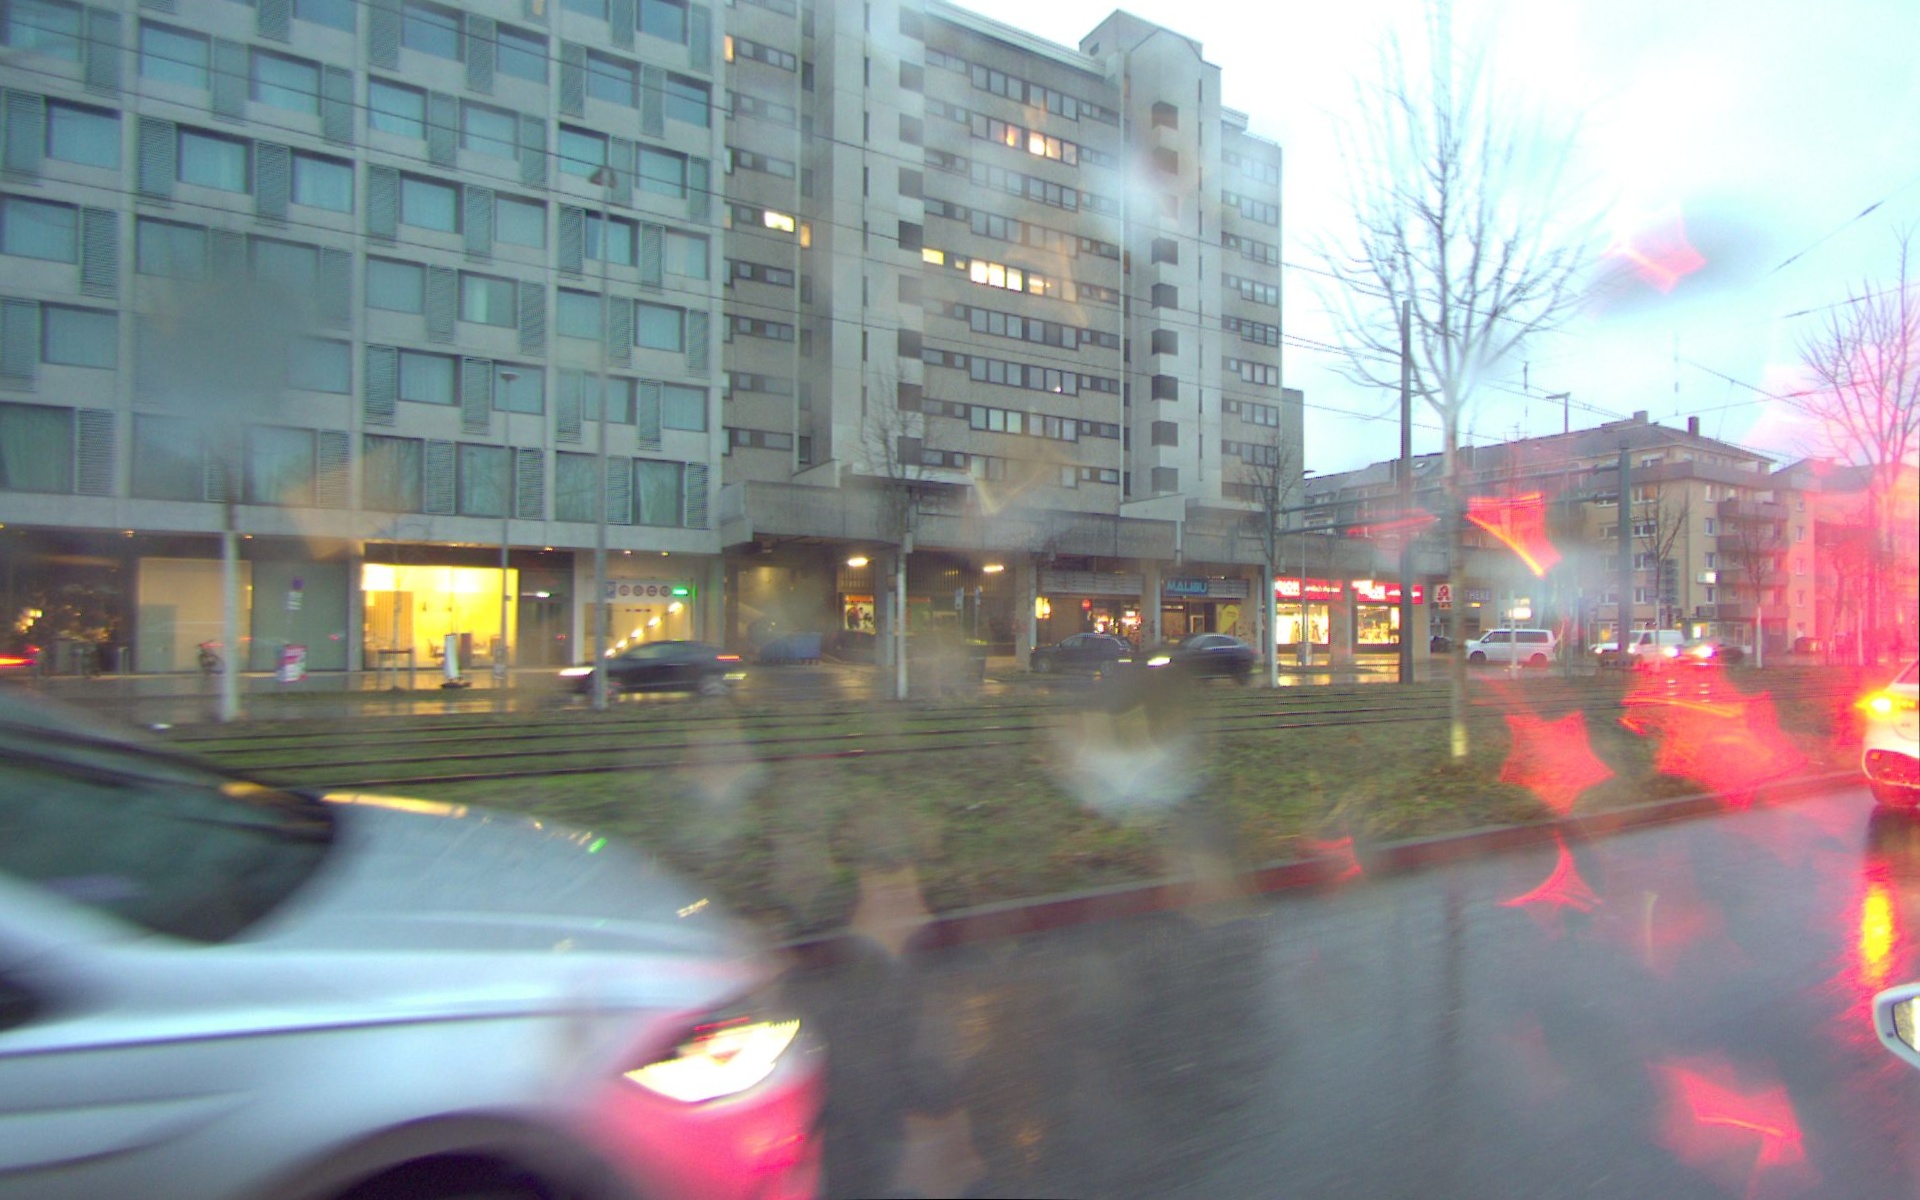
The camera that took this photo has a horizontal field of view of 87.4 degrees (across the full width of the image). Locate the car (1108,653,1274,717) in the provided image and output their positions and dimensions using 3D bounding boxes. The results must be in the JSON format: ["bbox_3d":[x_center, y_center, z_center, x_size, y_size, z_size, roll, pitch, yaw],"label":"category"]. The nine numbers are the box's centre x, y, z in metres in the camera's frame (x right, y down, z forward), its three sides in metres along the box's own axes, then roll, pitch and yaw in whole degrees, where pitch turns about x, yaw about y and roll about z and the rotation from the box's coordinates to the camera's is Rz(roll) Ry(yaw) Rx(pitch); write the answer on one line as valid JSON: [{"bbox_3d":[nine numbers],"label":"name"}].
[{"bbox_3d":[7.009,2.501,30.357,4.855,1.741,1.888,1,-2,-28],"label":"car"}]

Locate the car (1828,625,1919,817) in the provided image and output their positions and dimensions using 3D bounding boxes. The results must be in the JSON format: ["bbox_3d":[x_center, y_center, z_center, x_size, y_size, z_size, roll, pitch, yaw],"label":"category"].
[{"bbox_3d":[9.290,0.966,8.356,4.562,1.424,1.836,2,-1,-32],"label":"car"}]

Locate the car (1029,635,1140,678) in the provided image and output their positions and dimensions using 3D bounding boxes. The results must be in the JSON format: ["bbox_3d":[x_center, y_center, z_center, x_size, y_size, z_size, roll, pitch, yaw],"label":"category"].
[{"bbox_3d":[4.916,2.218,39.795,3.924,1.405,1.935,2,0,25],"label":"car"}]

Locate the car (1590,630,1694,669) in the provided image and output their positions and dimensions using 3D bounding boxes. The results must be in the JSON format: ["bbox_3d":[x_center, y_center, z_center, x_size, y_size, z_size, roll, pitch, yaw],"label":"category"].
[{"bbox_3d":[35.221,2.508,51.891,5.089,1.937,1.990,1,-2,-23],"label":"car"}]

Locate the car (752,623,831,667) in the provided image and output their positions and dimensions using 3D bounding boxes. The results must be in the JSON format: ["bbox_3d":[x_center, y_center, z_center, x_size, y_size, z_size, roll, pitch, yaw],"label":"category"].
[{"bbox_3d":[-7.013,1.804,41.519,1.709,1.718,4.336,1,-2,-32],"label":"car"}]

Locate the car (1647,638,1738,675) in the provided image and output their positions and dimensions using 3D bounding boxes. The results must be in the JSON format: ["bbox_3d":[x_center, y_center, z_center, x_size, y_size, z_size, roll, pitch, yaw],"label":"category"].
[{"bbox_3d":[34.807,2.647,47.726,4.527,1.655,1.887,1,-2,-31],"label":"car"}]

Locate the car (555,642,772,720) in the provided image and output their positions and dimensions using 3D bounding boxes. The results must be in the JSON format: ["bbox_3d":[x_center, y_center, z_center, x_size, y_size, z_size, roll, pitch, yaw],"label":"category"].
[{"bbox_3d":[-7.304,1.932,24.893,4.858,1.741,1.887,1,-2,-30],"label":"car"}]

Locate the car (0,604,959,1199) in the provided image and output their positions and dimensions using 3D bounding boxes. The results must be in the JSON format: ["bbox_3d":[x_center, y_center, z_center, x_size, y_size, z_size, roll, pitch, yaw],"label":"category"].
[{"bbox_3d":[-2.138,0.700,1.605,3.936,1.389,1.754,2,-1,-31],"label":"car"}]

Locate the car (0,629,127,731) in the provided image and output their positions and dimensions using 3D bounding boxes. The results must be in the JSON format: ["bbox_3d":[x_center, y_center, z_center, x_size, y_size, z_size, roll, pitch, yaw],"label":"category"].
[{"bbox_3d":[-18.557,1.464,18.638,4.477,1.837,1.887,1,-2,-30],"label":"car"}]

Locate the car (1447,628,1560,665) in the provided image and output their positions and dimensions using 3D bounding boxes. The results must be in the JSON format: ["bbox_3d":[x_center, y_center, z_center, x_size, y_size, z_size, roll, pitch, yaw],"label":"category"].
[{"bbox_3d":[29.254,2.475,54.236,5.059,1.937,2.001,0,-2,15],"label":"car"}]
